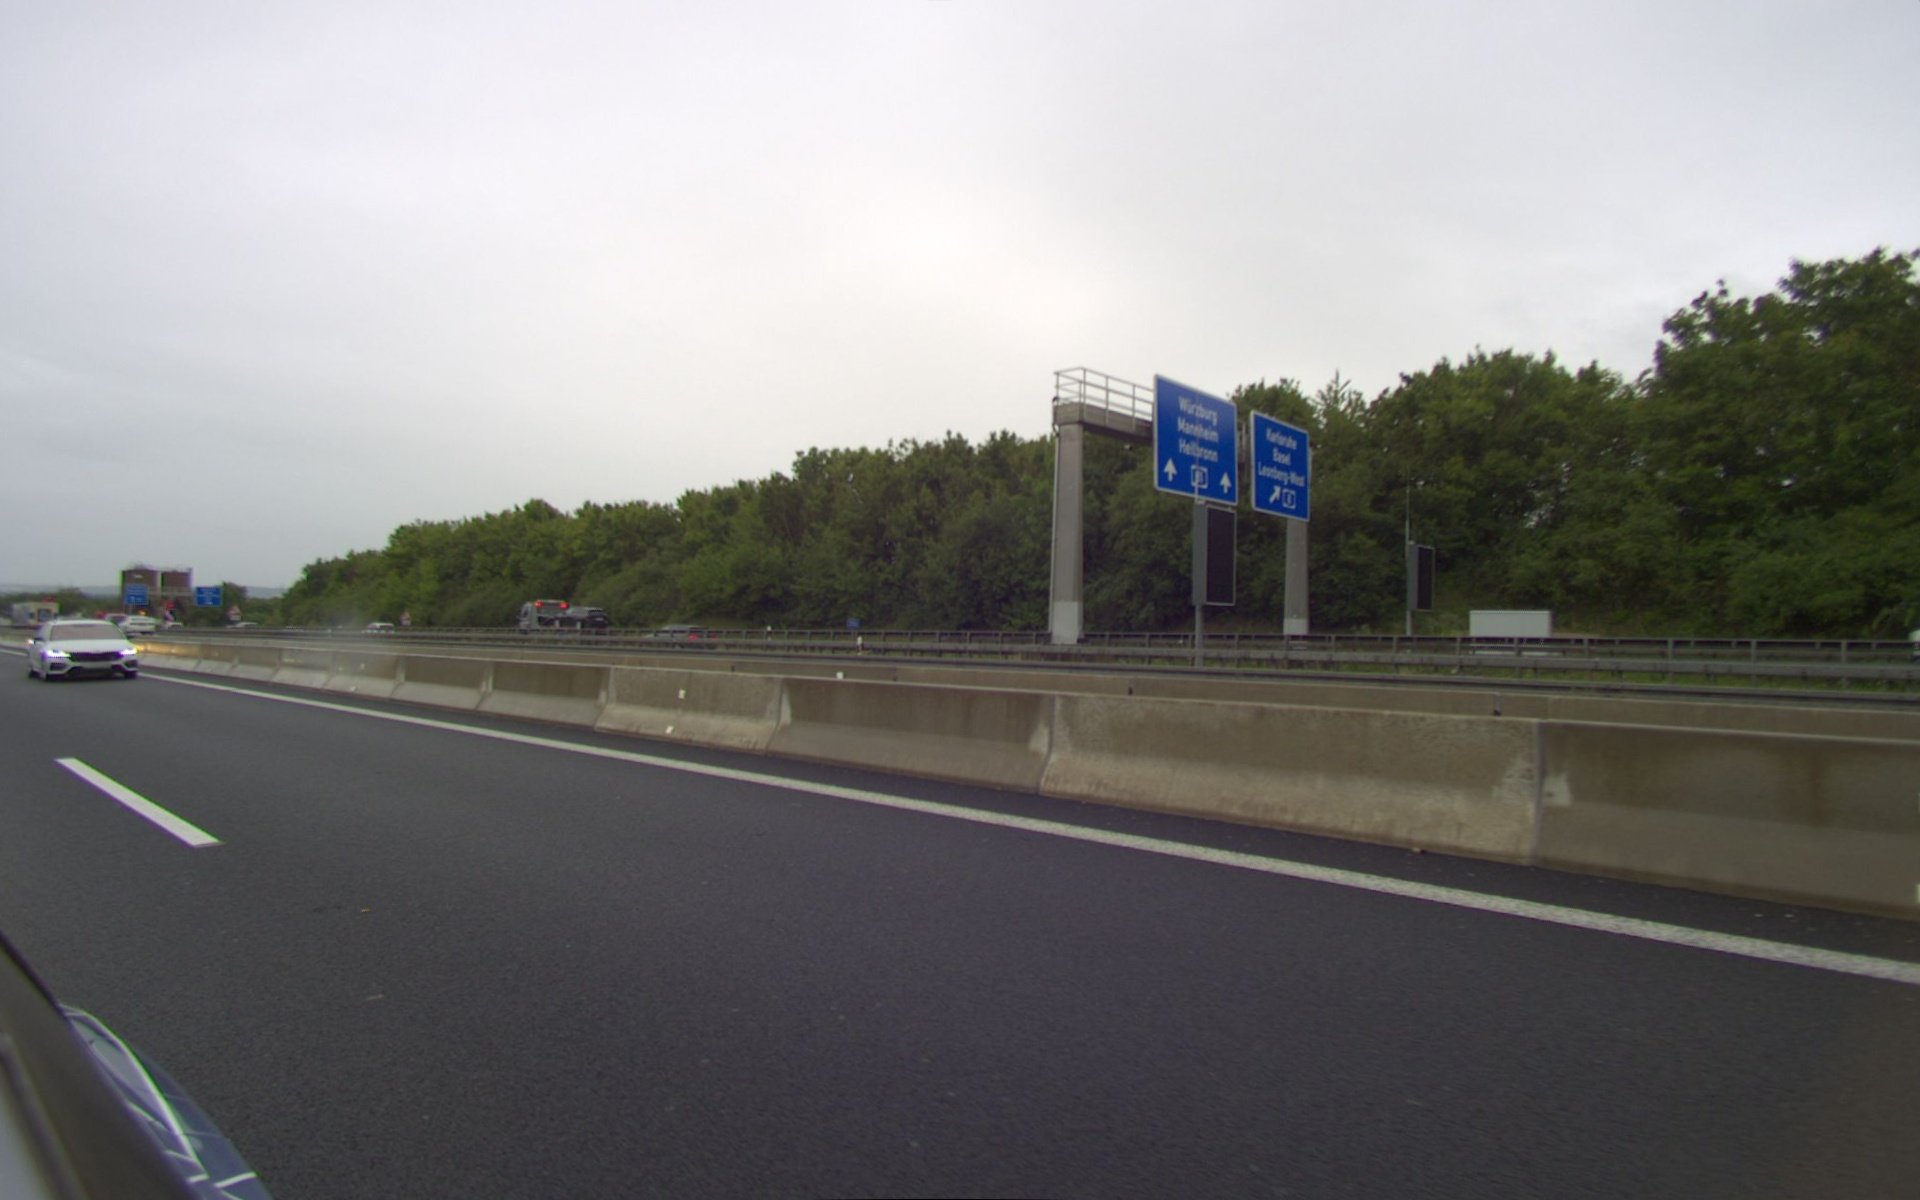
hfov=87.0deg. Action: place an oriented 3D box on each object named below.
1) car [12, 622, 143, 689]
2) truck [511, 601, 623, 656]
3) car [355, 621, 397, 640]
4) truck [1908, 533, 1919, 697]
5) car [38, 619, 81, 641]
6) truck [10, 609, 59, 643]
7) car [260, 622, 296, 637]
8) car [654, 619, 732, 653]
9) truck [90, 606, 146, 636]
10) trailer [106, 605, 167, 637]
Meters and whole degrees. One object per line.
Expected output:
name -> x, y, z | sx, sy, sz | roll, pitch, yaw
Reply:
car -> -22.113, 1.309, 25.296 | 4.774, 1.467, 1.800 | -1, 0, 40
truck -> -25.011, 1.740, 64.182 | 9.076, 3.245, 2.821 | -1, 0, 42
car -> -50.165, 2.580, 86.854 | 4.774, 1.593, 1.641 | -1, 0, 40
truck -> 27.343, 0.306, 22.018 | 9.632, 3.908, 3.041 | -1, 0, 42
car -> -70.220, 2.316, 78.892 | 4.774, 1.694, 1.851 | -1, 0, 40
truck -> -113.629, 3.158, 124.137 | 16.085, 3.907, 2.895 | -1, 0, 42
car -> -69.096, 2.988, 102.456 | 4.774, 1.467, 1.800 | -1, 0, 40
car -> -12.576, 1.669, 47.557 | 3.998, 1.467, 1.658 | -1, 0, 42
truck -> -70.652, 1.730, 84.869 | 7.339, 2.358, 2.549 | -1, 0, 42
trailer -> -65.035, 1.649, 79.826 | 7.944, 2.358, 2.549 | -1, 0, 42
